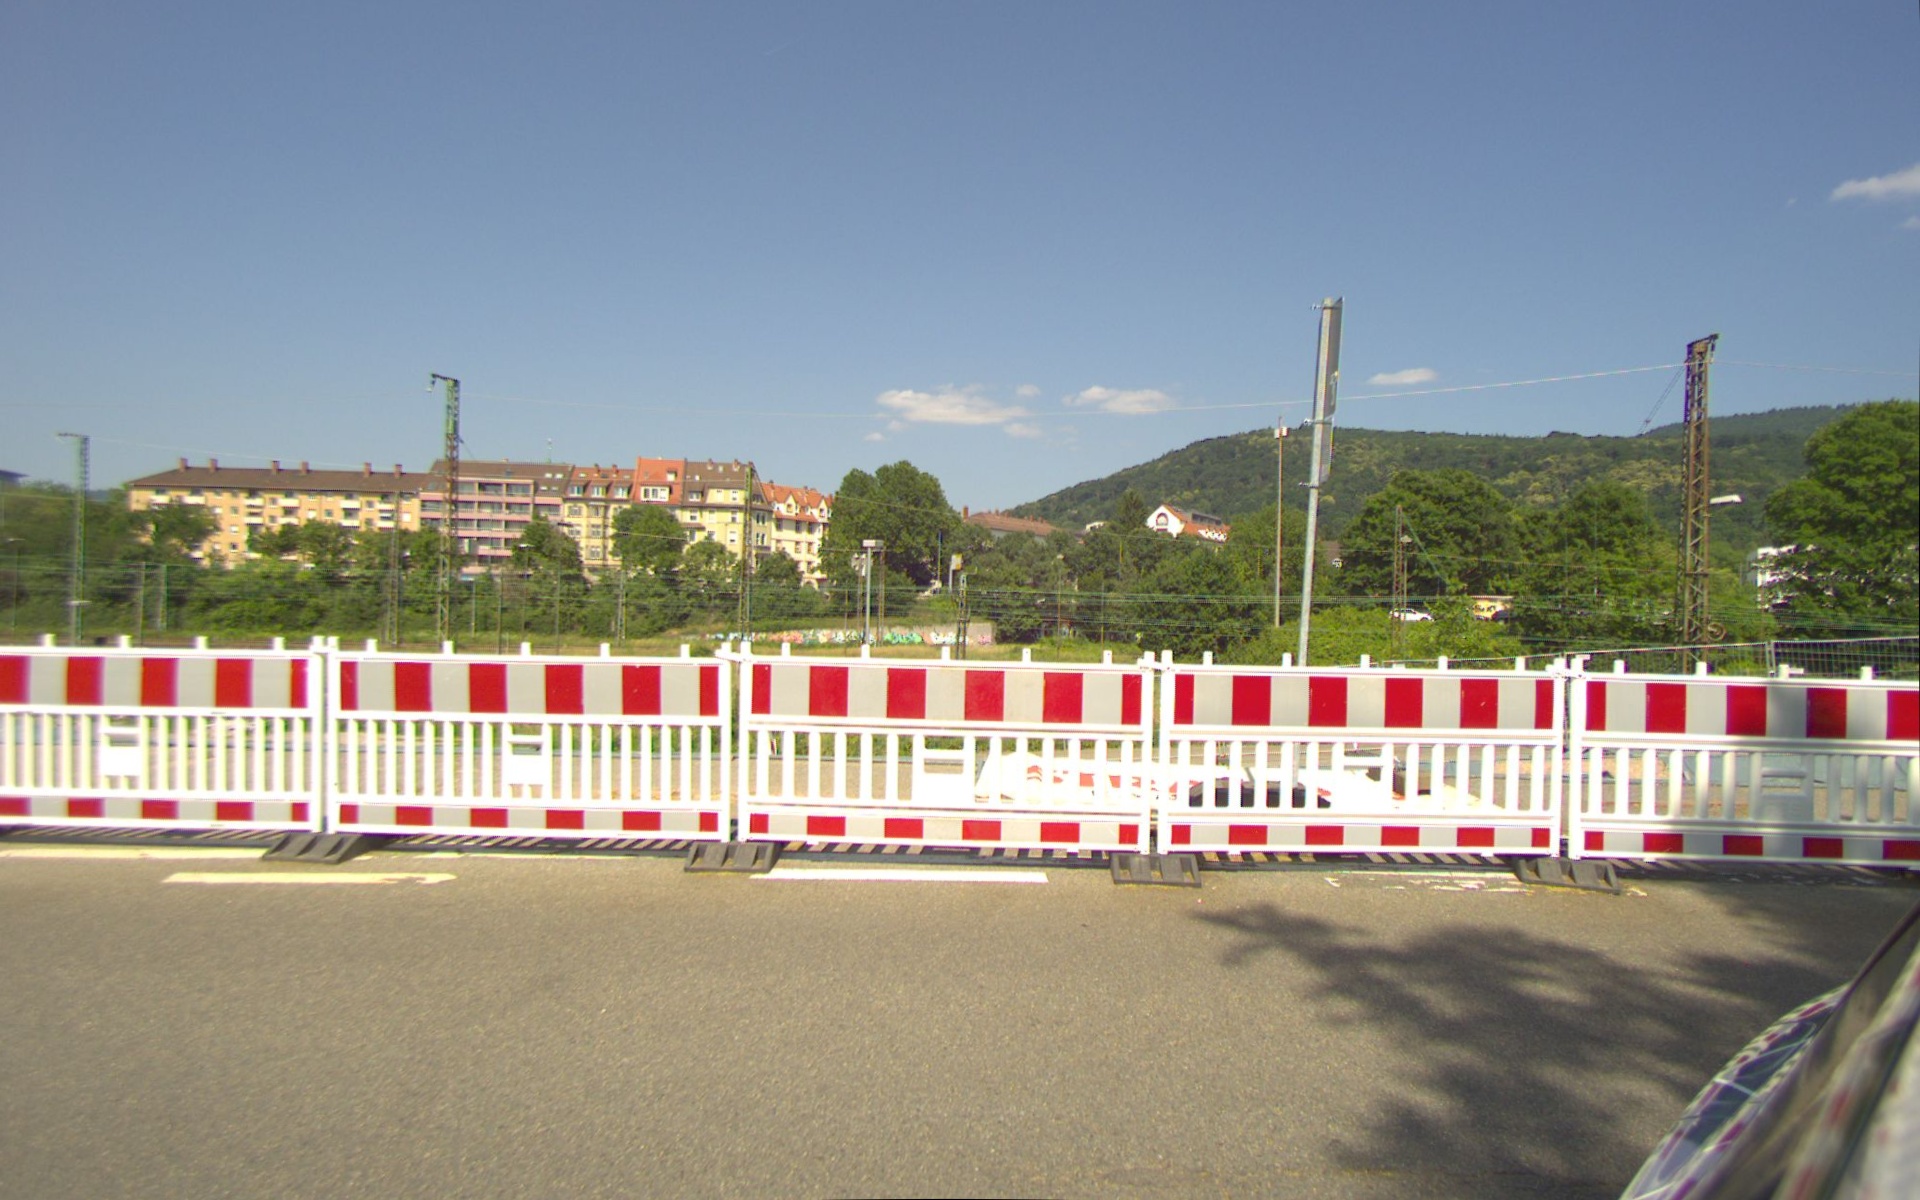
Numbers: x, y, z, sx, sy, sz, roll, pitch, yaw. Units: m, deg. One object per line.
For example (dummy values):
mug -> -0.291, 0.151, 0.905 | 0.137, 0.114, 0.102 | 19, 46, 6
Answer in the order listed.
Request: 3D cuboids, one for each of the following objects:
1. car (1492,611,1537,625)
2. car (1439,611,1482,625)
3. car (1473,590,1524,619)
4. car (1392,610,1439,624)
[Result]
car -> 55.337, 1.785, 100.966 | 3.814, 1.384, 1.762 | 1, 0, 33
car -> 51.332, 1.834, 103.796 | 3.818, 1.384, 1.761 | 1, 0, 35
car -> 55.473, 0.421, 104.291 | 4.596, 2.888, 1.848 | 1, 0, 28
car -> 47.859, 1.787, 106.319 | 4.290, 1.384, 1.841 | 1, 0, 36
